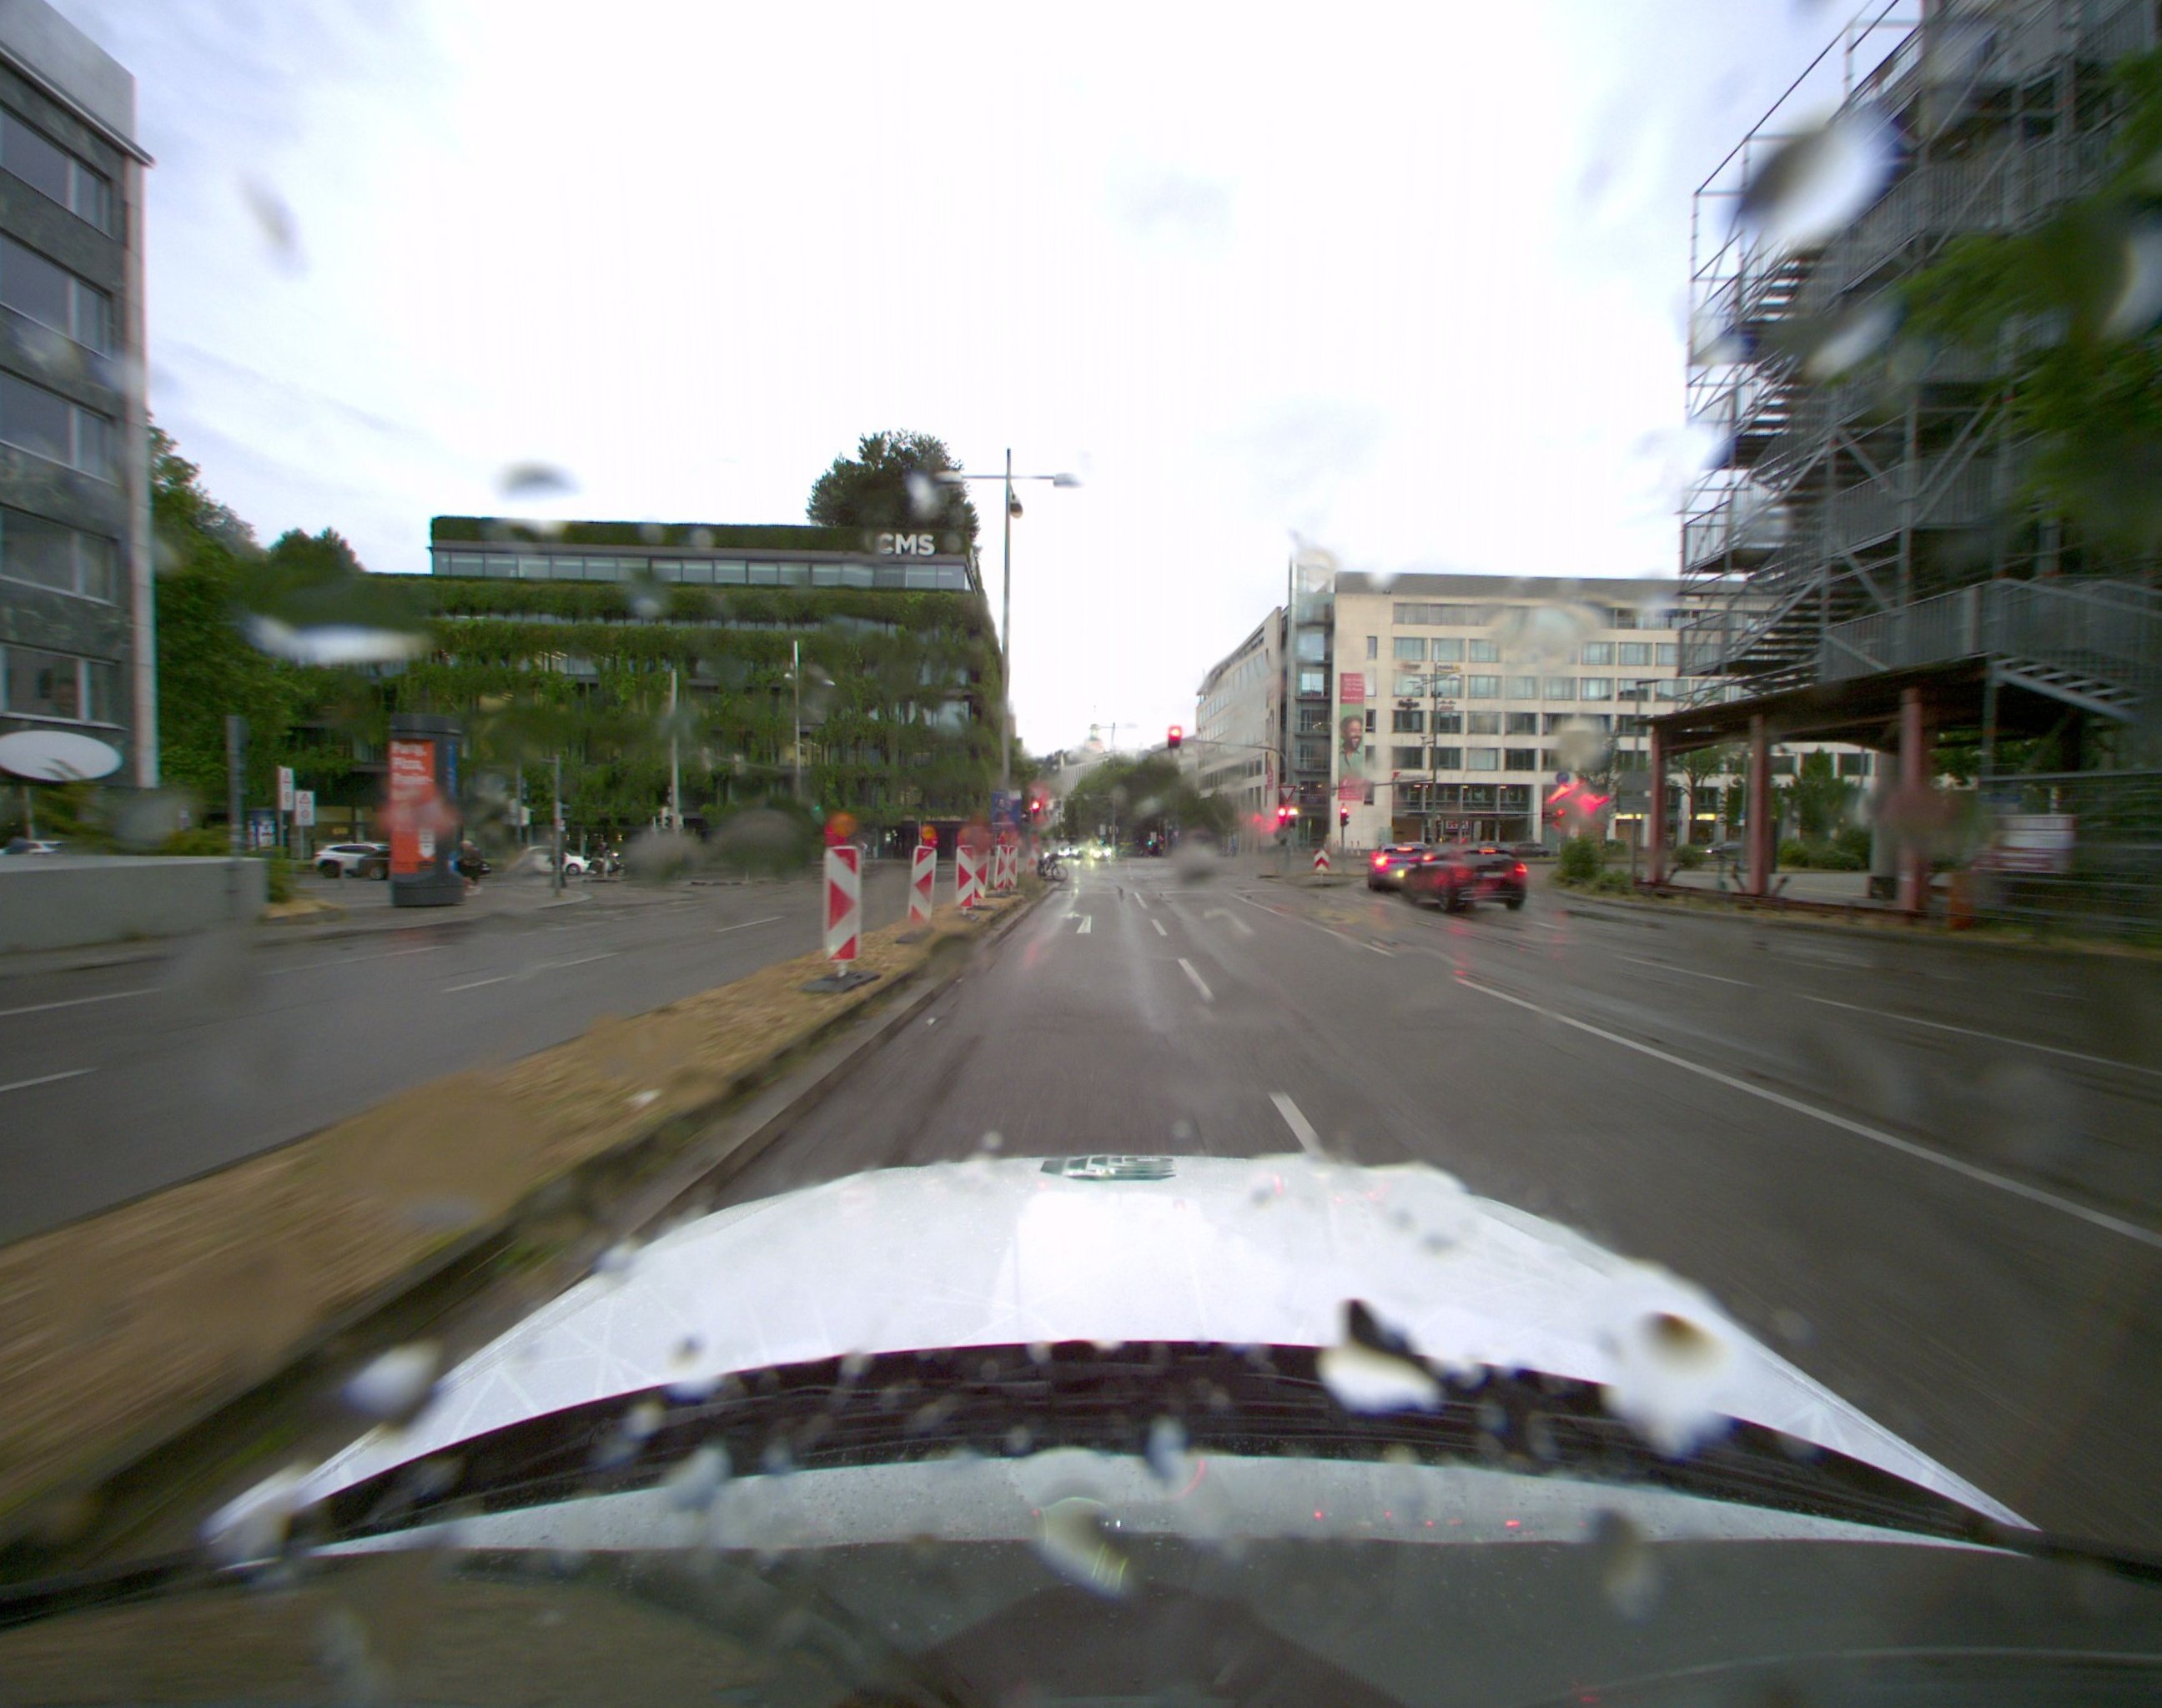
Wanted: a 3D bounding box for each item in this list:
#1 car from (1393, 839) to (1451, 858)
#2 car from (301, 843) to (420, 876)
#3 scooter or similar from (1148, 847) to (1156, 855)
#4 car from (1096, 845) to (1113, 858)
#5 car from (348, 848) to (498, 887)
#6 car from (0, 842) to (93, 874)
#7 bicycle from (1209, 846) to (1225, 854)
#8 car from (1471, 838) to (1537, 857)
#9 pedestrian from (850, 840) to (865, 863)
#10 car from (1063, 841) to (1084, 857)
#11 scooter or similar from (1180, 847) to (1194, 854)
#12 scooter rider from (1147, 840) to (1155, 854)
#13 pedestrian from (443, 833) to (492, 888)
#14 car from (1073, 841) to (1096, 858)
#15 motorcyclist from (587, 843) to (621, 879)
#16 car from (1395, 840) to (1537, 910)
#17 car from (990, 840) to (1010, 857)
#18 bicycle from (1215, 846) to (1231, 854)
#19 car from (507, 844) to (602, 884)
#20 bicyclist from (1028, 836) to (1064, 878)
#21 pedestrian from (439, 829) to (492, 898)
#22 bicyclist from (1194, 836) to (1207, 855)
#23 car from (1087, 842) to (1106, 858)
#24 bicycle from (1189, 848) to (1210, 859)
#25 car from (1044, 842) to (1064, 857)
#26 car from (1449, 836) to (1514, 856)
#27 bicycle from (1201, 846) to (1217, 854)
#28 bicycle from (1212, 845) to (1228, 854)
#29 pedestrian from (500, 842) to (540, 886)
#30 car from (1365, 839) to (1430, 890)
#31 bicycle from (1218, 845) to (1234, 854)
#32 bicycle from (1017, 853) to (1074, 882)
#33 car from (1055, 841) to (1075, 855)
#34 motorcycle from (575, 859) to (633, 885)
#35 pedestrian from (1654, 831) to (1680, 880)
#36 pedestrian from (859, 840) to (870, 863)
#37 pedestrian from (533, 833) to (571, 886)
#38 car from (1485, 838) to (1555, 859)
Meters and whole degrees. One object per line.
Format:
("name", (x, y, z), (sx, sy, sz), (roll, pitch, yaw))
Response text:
("car", (30.006, -0.477, 71.750), (4.456, 1.598, 1.991), (-1, 1, -14))
("car", (-34.887, 0.224, 39.541), (3.893, 1.523, 1.865), (0, 1, -12))
("scooter or similar", (9.074, -0.370, 104.468), (0.556, 1.007, 1.818), (-1, 0, -9))
("car", (3.007, -0.344, 104.131), (1.988, 1.443, 4.554), (-1, 2, -1))
("car", (-29.501, 0.562, 36.683), (4.805, 1.652, 1.963), (-1, 1, -13))
("car", (-69.353, 0.252, 54.382), (4.089, 2.013, 1.998), (-1, 0, -3))
("bicycle", (15.593, -0.497, 93.594), (1.786, 0.934, 0.476), (0, 1, 4))
("car", (32.234, -0.512, 62.115), (4.455, 1.348, 1.715), (-1, 1, -13))
("pedestrian", (-16.996, -0.204, 61.908), (0.939, 1.758, 1.163), (-1, 1, -22))
("car", (-0.927, -0.635, 97.110), (2.171, 1.823, 4.637), (0, 1, -4))
("scooter or similar", (13.393, -0.401, 102.764), (1.750, 0.878, 0.486), (-1, 0, -18))
("scooter rider", (9.004, -0.918, 104.513), (0.762, 1.774, 0.793), (-1, 0, -9))
("pedestrian", (-21.154, 0.209, 28.103), (1.019, 1.854, 0.876), (0, 0, -3))
("car", (0.289, -0.470, 76.194), (1.989, 1.550, 4.551), (0, 1, -3))
("motorcyclist", (-22.875, 0.314, 39.054), (1.187, 1.702, 0.844), (-1, 1, -15))
("car", (9.220, 0.432, 19.894), (1.770, 1.540, 4.151), (0, 1, 4))
("car", (-9.074, -0.601, 91.582), (1.989, 1.894, 4.461), (0, 1, -2))
("bicycle", (15.535, -0.456, 89.264), (1.778, 0.934, 0.478), (0, 1, 43))
("car", (-26.487, 0.480, 41.083), (3.451, 1.922, 1.993), (0, 1, -11))
("bicyclist", (-1.428, 0.110, 33.179), (1.299, 1.704, 0.843), (-1, 1, -19))
("pedestrian", (-17.724, 0.269, 23.465), (0.806, 1.885, 0.862), (-4, 1, -14))
("bicyclist", (12.369, -0.882, 84.282), (0.798, 1.975, 1.101), (0, 0, -39))
("car", (1.630, -0.469, 88.301), (1.958, 1.655, 4.363), (-1, 2, -1))
("bicycle", (12.284, -0.082, 84.386), (0.798, 1.117, 2.230), (-1, 1, -39))
("car", (-2.685, -0.480, 80.948), (1.852, 1.448, 4.616), (-1, 1, -3))
("car", (32.323, -0.672, 65.795), (4.455, 1.598, 1.991), (-1, 1, -13))
("bicycle", (15.024, -0.507, 95.457), (1.786, 0.934, 0.476), (0, 1, 4))
("bicycle", (14.816, -0.469, 86.926), (1.778, 0.934, 0.478), (0, 1, 43))
("pedestrian", (-20.607, 0.371, 29.938), (0.828, 1.585, 0.923), (0, 0, 2))
("car", (10.386, 0.285, 26.983), (1.690, 1.529, 4.446), (0, 1, 17))
("bicycle", (15.605, -0.483, 87.550), (1.778, 0.934, 0.478), (0, 1, 43))
("bicycle", (-1.447, 0.542, 33.151), (2.152, 1.103, 0.843), (-1, 1, -19))
("car", (-1.758, -0.667, 87.458), (1.853, 1.448, 4.614), (-1, 1, -4))
("motorcycle", (-22.857, 0.851, 39.062), (2.231, 1.210, 0.844), (-1, 1, -15))
("pedestrian", (22.700, 0.061, 31.559), (0.673, 1.852, 1.063), (-1, 0, 28))
("pedestrian", (-16.497, -0.196, 62.066), (0.744, 1.758, 0.969), (-1, 1, -22))
("pedestrian", (-19.291, 0.191, 29.704), (0.781, 1.885, 0.898), (0, 0, 1))
("car", (31.852, -0.422, 59.111), (4.452, 1.464, 1.716), (0, 1, -11))
